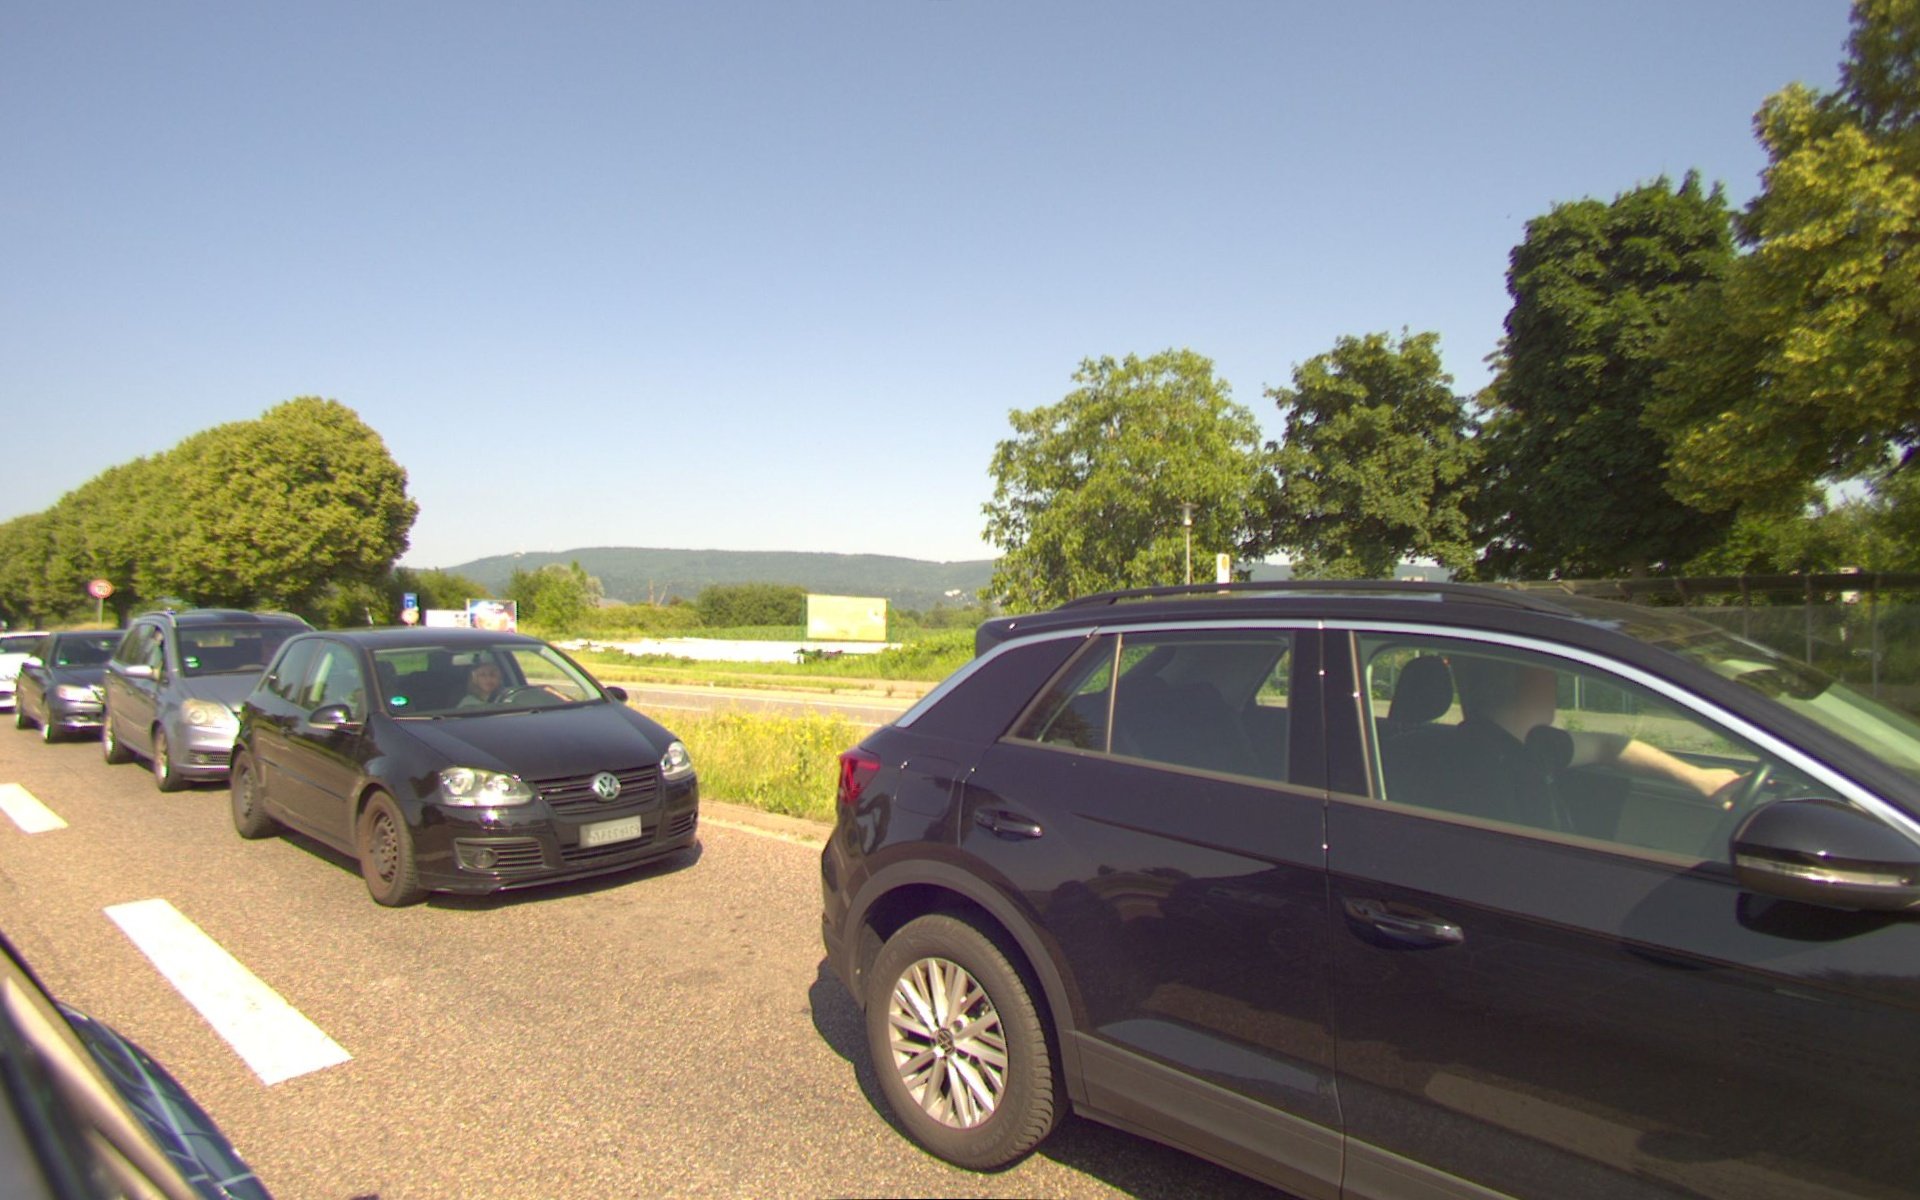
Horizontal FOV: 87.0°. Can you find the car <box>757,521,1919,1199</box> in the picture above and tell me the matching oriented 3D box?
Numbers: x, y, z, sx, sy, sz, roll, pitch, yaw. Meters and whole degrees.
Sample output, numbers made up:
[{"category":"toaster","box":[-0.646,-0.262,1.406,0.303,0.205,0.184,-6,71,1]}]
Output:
[{"category":"car","box":[1.461,0.693,2.424,4.096,1.559,1.710,-2,-2,42]}]

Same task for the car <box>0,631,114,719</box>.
[{"category":"car","box":[-17.350,1.320,18.838,4.639,1.436,1.784,-2,-1,41]}]

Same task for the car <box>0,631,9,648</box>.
[{"category":"car","box":[-105.763,4.304,110.705,4.952,1.854,1.972,-2,-4,42]}]

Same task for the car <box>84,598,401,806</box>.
[{"category":"car","box":[-7.450,0.888,10.329,4.355,1.685,1.723,-2,-2,42]}]

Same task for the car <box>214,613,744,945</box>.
[{"category":"car","box":[-3.305,0.865,6.543,4.096,1.486,1.648,-2,-2,42]}]

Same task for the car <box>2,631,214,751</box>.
[{"category":"car","box":[-12.118,1.167,14.294,4.353,1.421,1.696,-2,-2,42]}]
